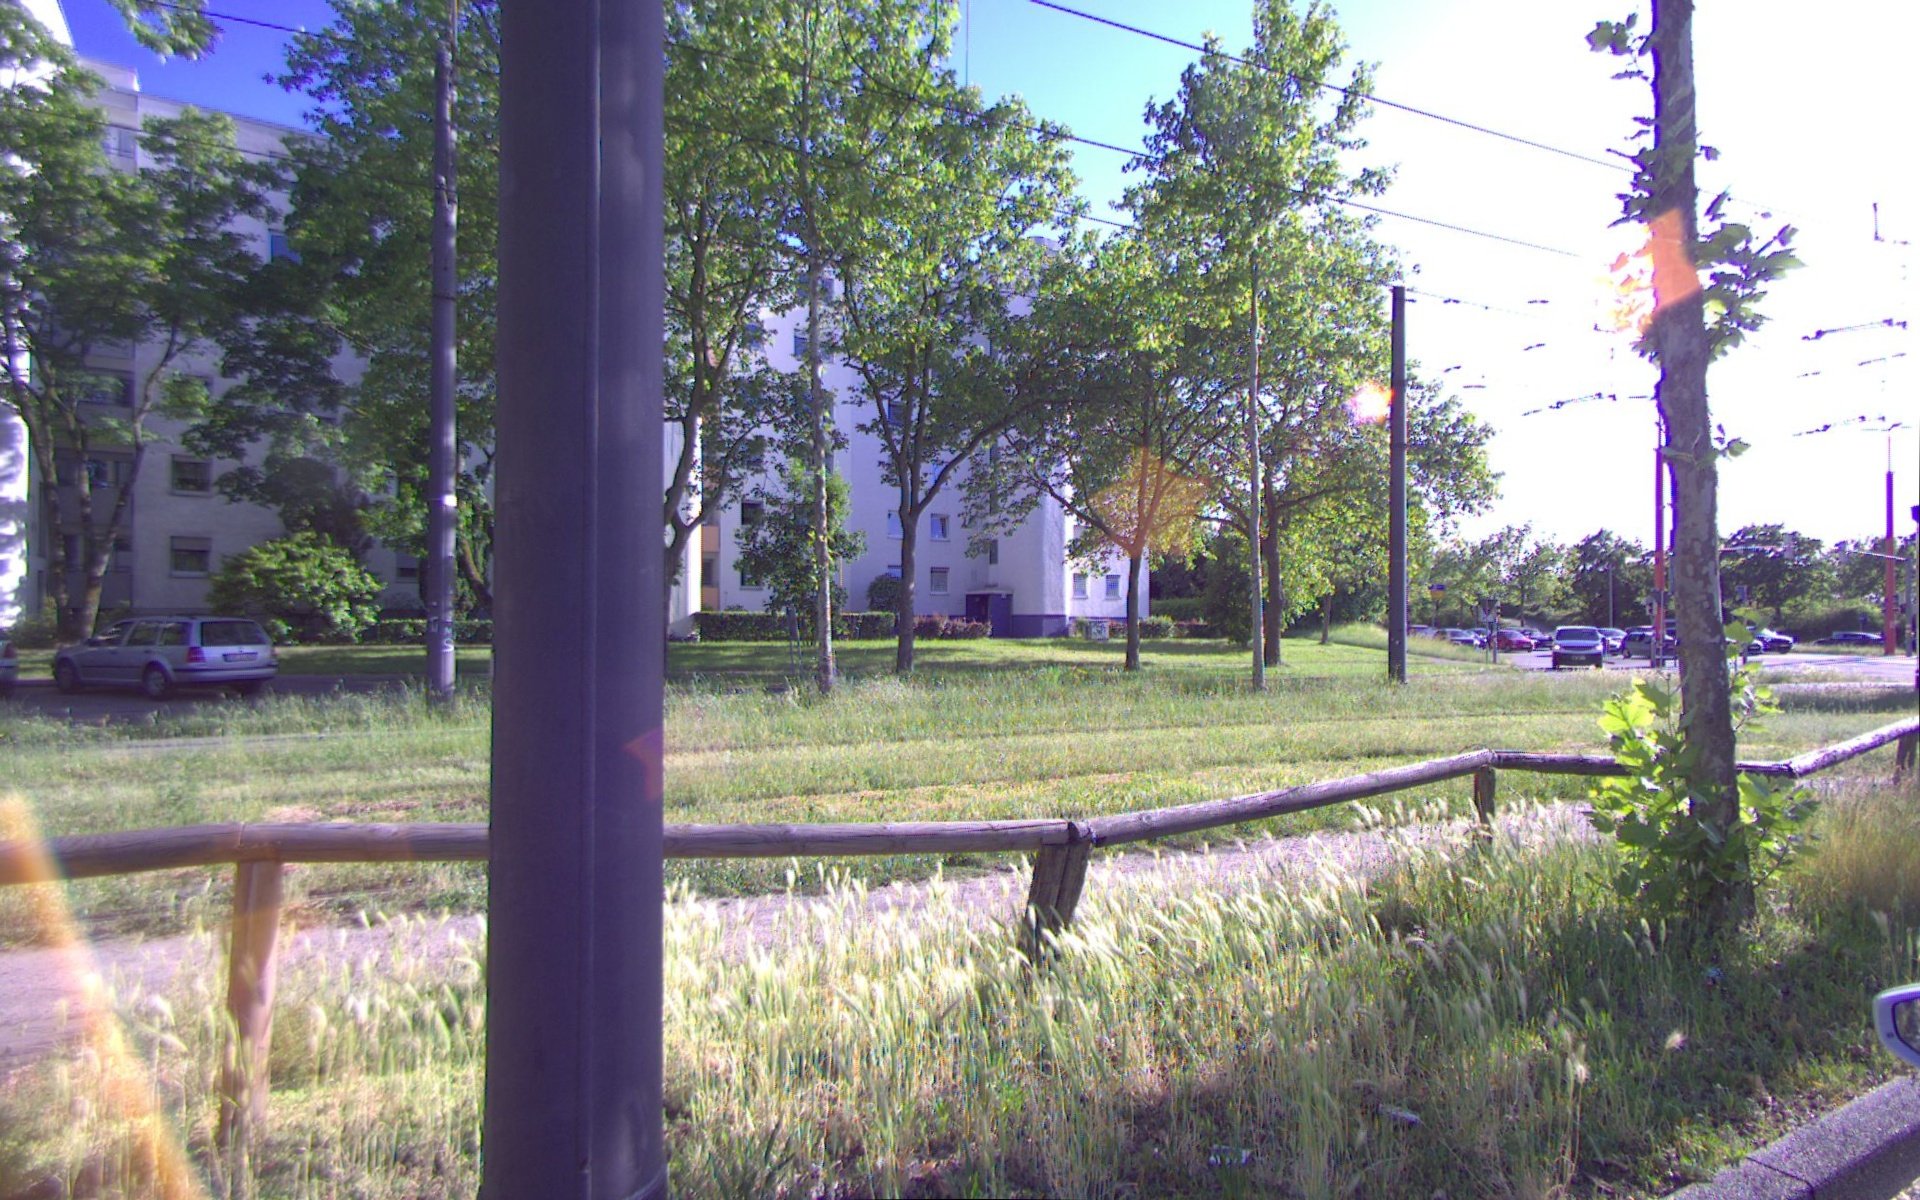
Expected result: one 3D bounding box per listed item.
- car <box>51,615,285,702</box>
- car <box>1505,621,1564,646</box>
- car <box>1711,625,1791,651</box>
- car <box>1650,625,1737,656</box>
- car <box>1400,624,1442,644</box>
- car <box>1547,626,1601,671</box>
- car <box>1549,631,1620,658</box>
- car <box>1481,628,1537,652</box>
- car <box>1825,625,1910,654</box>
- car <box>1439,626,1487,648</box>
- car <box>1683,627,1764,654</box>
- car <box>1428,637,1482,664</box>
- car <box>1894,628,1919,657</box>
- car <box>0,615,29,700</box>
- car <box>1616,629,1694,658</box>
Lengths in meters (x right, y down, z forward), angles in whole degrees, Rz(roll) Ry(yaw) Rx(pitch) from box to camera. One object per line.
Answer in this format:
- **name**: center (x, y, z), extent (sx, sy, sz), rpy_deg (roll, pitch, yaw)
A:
- **car**: center (-14.530, 1.009, 18.434), extent (3.830, 1.421, 1.581), rpy_deg (1, 0, 20)
- **car**: center (42.279, 2.429, 74.070), extent (1.721, 1.669, 4.644), rpy_deg (1, -1, 1)
- **car**: center (48.662, 2.321, 61.896), extent (1.513, 1.434, 4.154), rpy_deg (1, -1, -3)
- **car**: center (42.336, 2.307, 58.105), extent (1.624, 1.669, 4.644), rpy_deg (1, -1, 1)
- **car**: center (38.654, 2.813, 84.394), extent (1.624, 1.540, 4.200), rpy_deg (1, -1, 1)
- **car**: center (27.500, 2.137, 45.135), extent (1.800, 1.845, 4.895), rpy_deg (1, -1, 29)
- **car**: center (38.927, 2.754, 62.736), extent (1.624, 1.540, 4.638), rpy_deg (1, -1, 1)
- **car**: center (38.457, 2.774, 70.452), extent (1.624, 1.540, 4.200), rpy_deg (1, -1, 1)
- **car**: center (60.465, 2.615, 66.997), extent (1.765, 1.814, 4.129), rpy_deg (1, -1, -5)
- **car**: center (38.670, 2.814, 77.254), extent (1.624, 1.540, 4.200), rpy_deg (1, -1, 1)
- **car**: center (45.583, 2.392, 60.063), extent (1.513, 1.434, 4.154), rpy_deg (1, -1, -3)
- **car**: center (34.154, 3.446, 69.462), extent (1.624, 1.640, 4.295), rpy_deg (1, -1, 0)
- **car**: center (63.170, 2.785, 64.853), extent (1.764, 1.814, 4.130), rpy_deg (1, -1, -4)
- **car**: center (-17.979, 0.945, 17.160), extent (3.567, 1.421, 1.581), rpy_deg (1, 0, 20)
- **car**: center (38.973, 2.406, 56.449), extent (1.624, 1.460, 3.841), rpy_deg (1, -1, -2)
